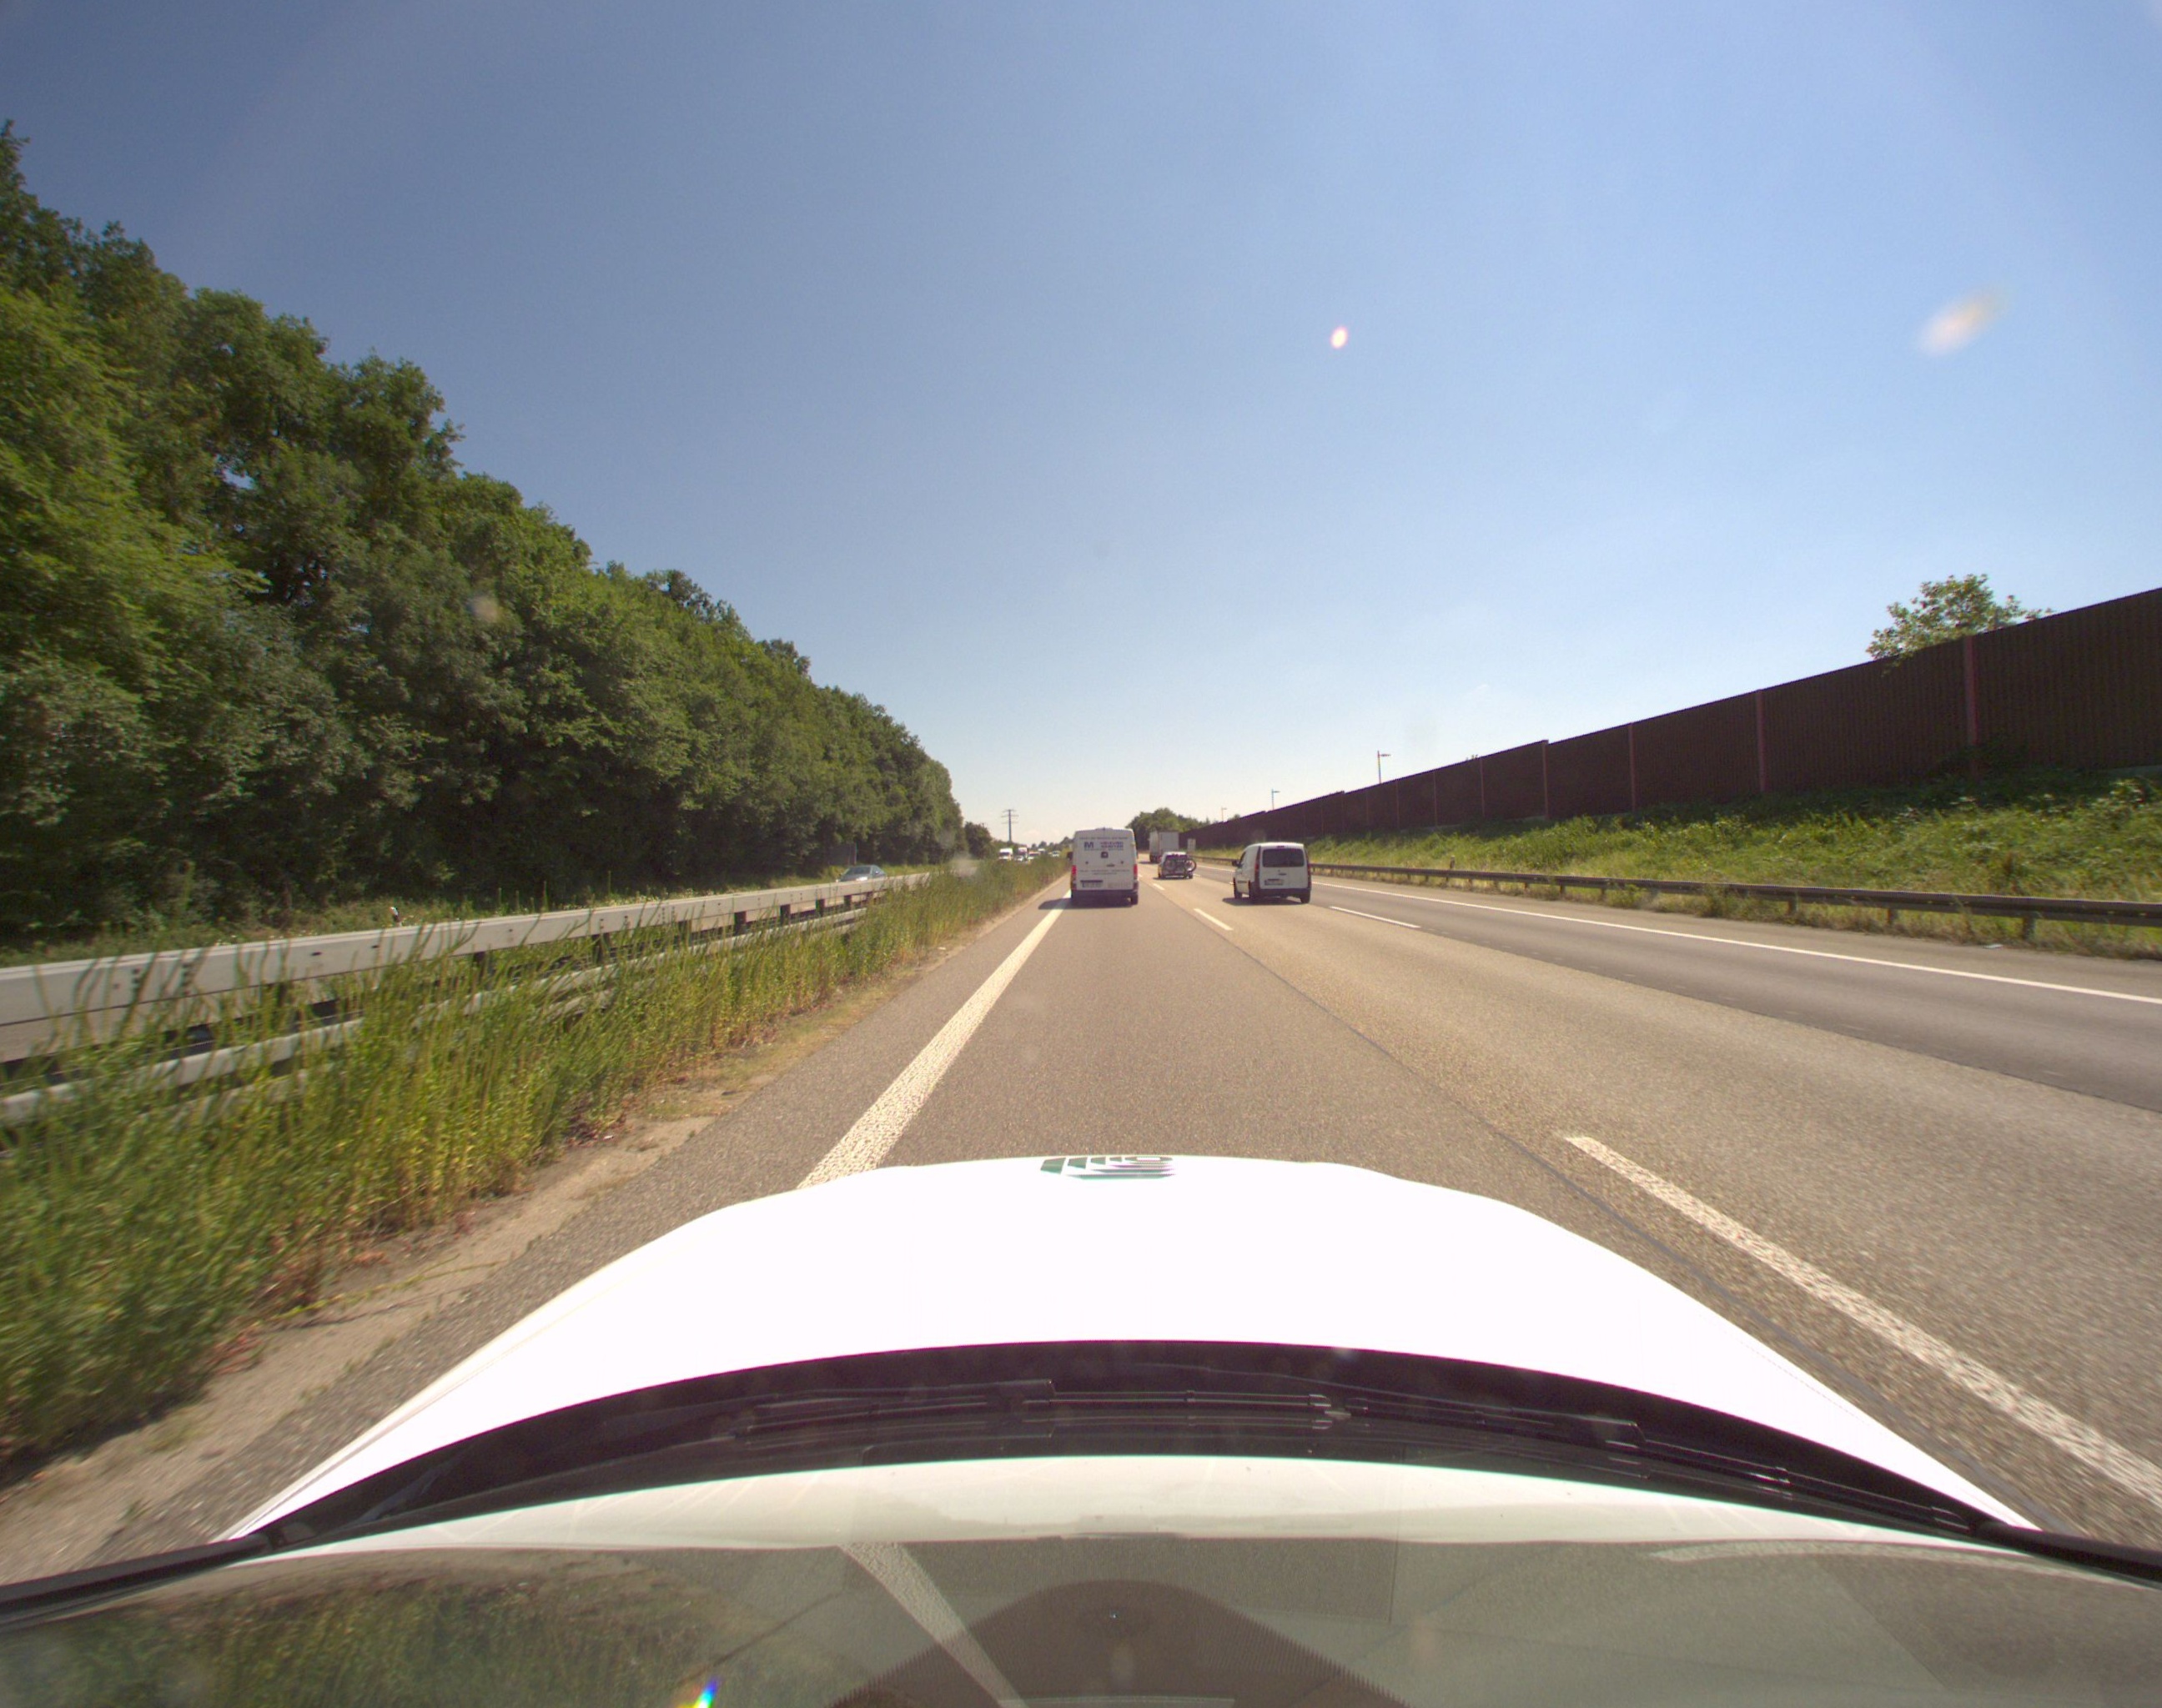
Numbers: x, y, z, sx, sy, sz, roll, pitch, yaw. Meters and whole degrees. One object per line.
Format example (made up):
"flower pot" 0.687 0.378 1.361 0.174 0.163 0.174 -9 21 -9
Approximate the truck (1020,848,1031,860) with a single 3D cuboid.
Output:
"truck" -12.994 0.126 191.469 1.985 2.741 5.863 0 -1 3

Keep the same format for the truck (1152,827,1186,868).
"truck" 11.129 -0.695 104.263 3.772 5.000 12.530 0 -1 4

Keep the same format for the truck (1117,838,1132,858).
"truck" 11.363 -1.567 212.285 3.772 5.000 12.530 0 -1 4

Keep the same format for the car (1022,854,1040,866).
"car" -6.926 0.781 113.612 1.986 1.587 4.427 -3 0 2

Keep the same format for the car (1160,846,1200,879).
"car" 5.639 0.480 46.836 1.967 1.733 4.092 -2 -1 4

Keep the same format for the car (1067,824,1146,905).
"car" 0.665 0.335 25.625 2.176 2.254 5.359 0 -1 -1

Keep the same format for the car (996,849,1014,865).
"car" -12.435 0.481 133.098 2.116 2.339 5.086 -3 0 2

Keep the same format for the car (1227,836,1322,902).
"car" 5.901 0.458 25.341 1.944 1.838 4.178 -2 -1 1

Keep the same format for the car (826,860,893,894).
"car" -11.465 1.166 42.476 1.986 1.519 4.723 -3 0 2

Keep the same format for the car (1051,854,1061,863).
"car" -5.629 0.991 181.177 1.987 2.013 4.000 -2 0 0
